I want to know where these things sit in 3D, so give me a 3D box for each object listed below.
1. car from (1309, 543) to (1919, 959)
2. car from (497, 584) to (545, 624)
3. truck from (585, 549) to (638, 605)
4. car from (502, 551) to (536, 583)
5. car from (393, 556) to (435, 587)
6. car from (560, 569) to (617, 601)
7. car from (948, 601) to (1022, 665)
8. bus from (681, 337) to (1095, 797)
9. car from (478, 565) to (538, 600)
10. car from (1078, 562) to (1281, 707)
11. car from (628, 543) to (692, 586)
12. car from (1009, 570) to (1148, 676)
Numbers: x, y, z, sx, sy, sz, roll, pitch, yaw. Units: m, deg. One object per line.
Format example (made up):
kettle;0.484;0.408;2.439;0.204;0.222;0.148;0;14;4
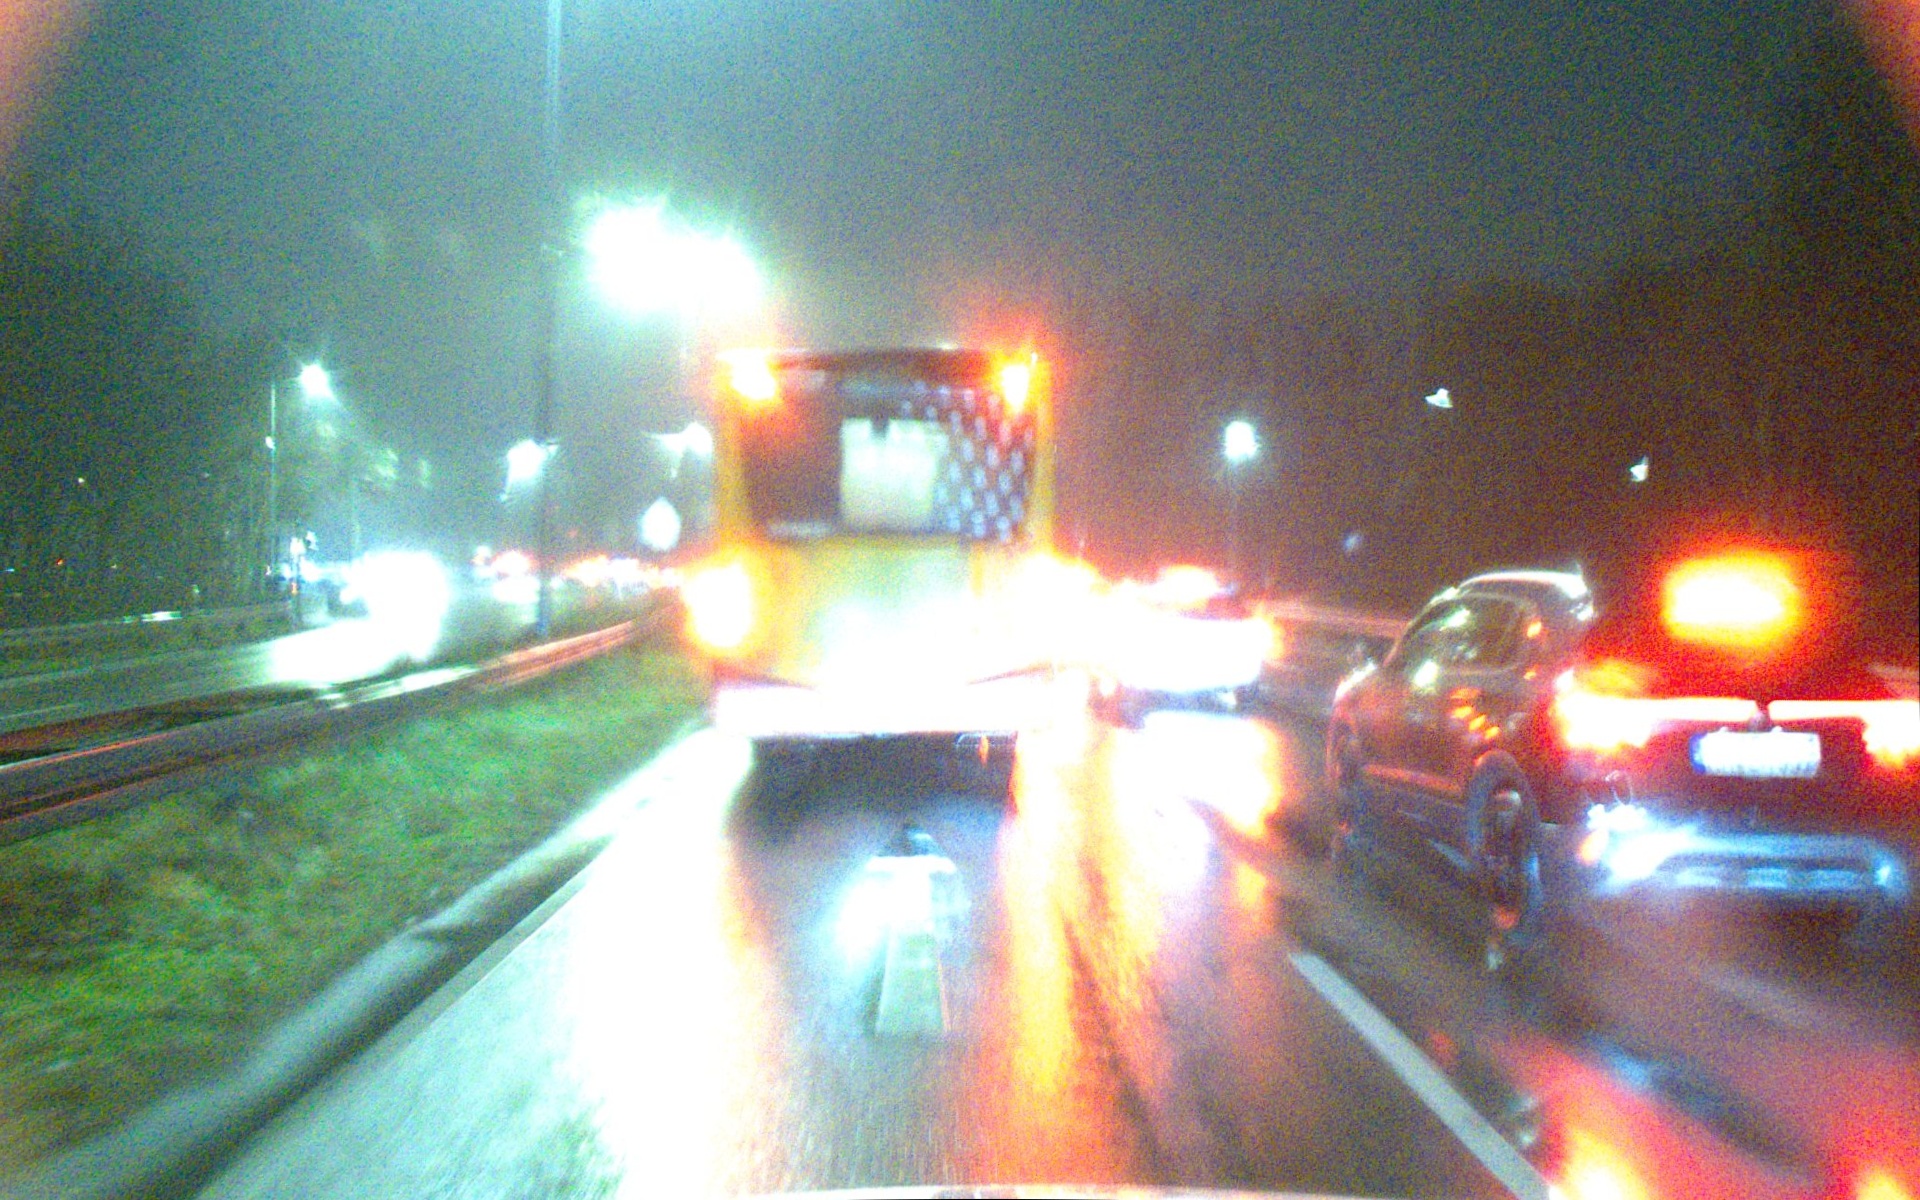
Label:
car;3.132;0.579;8.331;1.705;1.592;3.774;1;0;-4
car;-23.153;0.203;87.179;1.966;2.049;3.973;0;0;-22
truck;-16.907;-1.144;80.036;1.829;2.434;4.752;-1;4;-20
car;-29.826;-2.232;111.933;2.085;2.049;3.986;2;0;-13
car;-37.767;-1.983;114.329;1.972;2.049;3.960;2;0;-30
car;-20.227;-0.842;89.952;1.738;1.659;3.576;2;0;-37
car;0.621;0.848;44.288;1.744;1.570;3.873;1;0;-2
bus;-0.652;-0.254;15.612;2.759;3.077;8.683;1;0;-2
car;-27.617;-1.058;100.969;2.197;2.049;3.943;0;1;-39
car;2.594;0.362;20.362;1.784;1.618;3.774;0;1;-4
car;-14.920;-1.736;82.053;1.971;2.049;3.962;2;0;-29
car;1.876;0.327;27.181;1.784;1.618;3.774;0;1;-4
